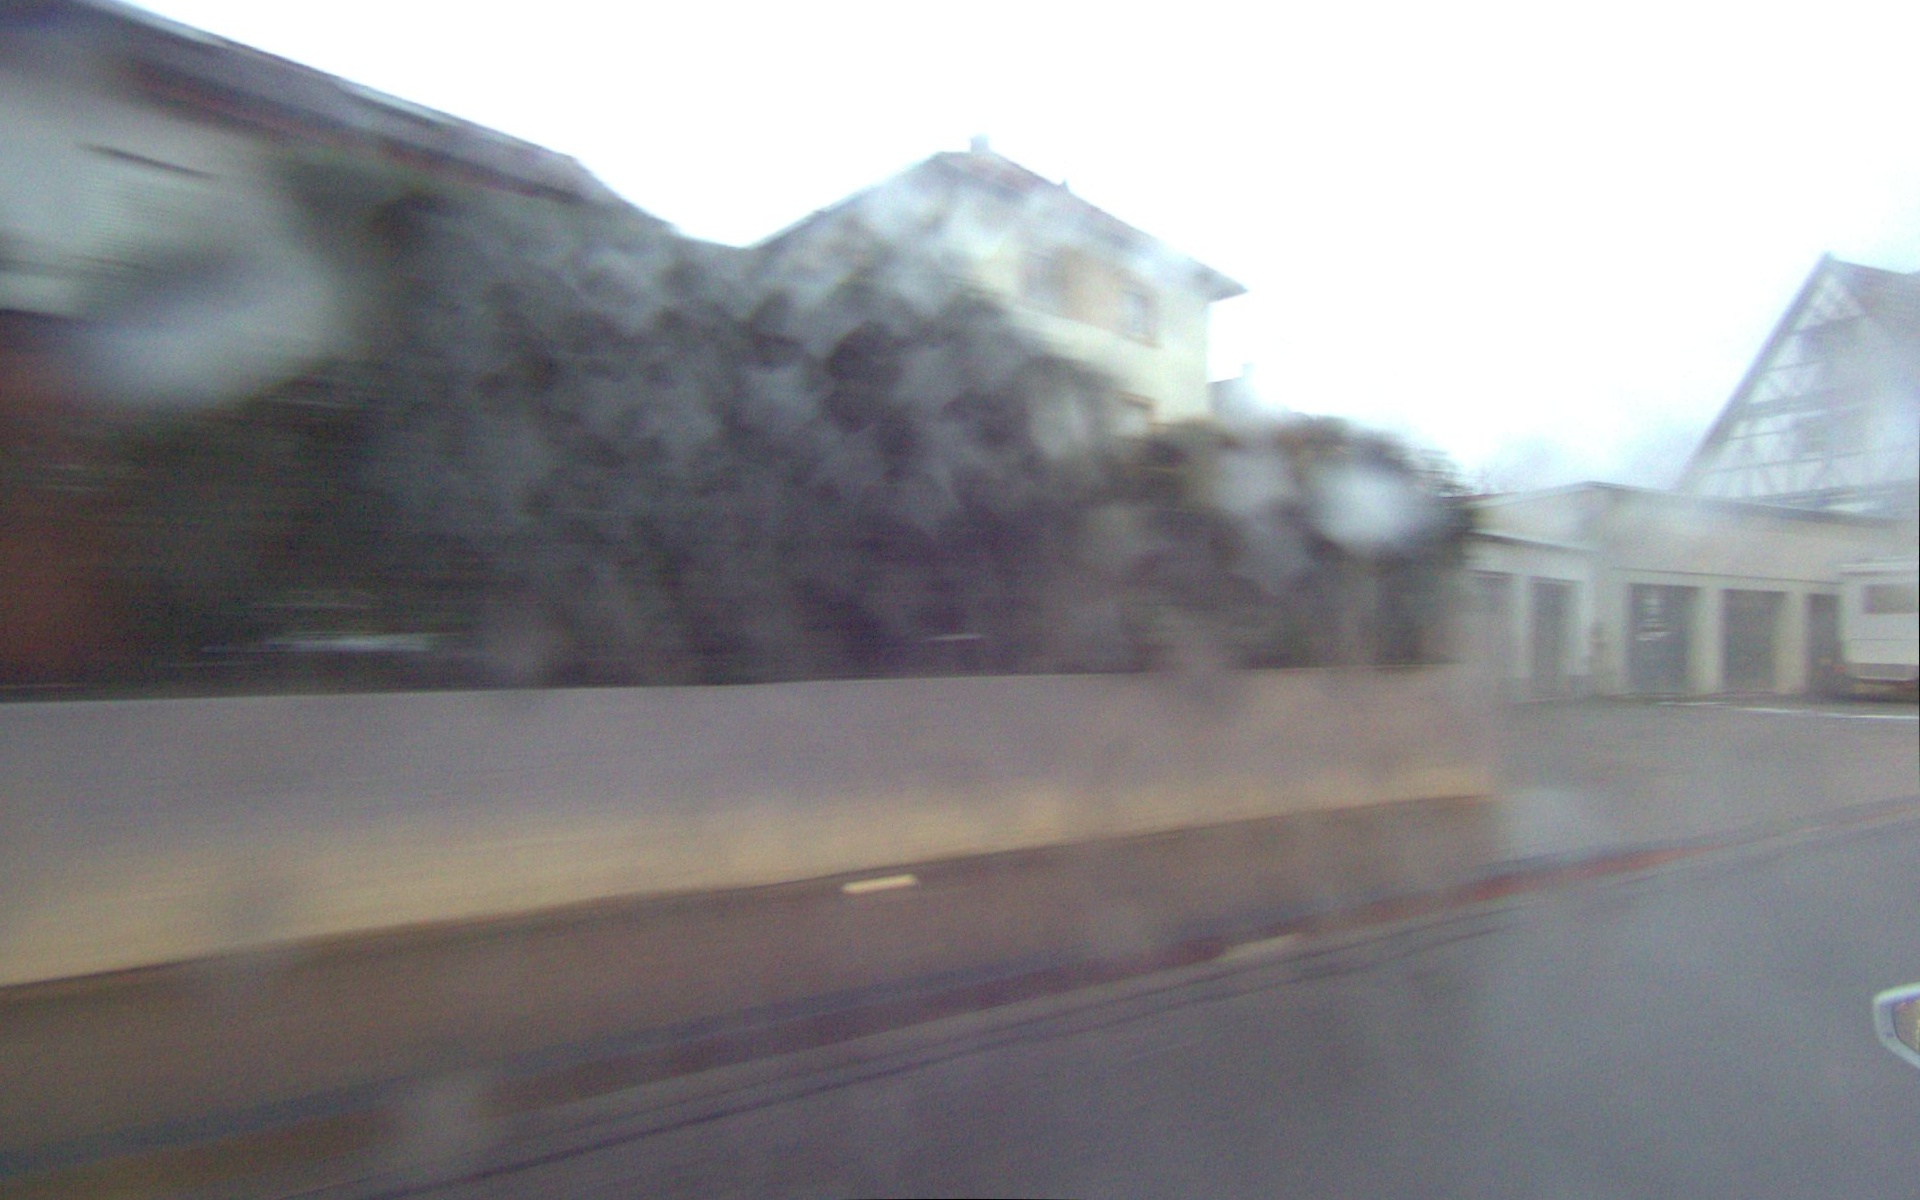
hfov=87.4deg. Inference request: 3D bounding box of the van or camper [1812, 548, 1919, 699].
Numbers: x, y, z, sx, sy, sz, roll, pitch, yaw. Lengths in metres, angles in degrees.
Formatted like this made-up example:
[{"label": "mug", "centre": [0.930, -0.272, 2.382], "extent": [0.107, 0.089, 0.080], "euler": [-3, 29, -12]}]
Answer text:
[{"label": "van or camper", "centre": [20.655, 0.422, 19.310], "extent": [2.371, 2.993, 6.051], "euler": [1, -3, -22]}]
